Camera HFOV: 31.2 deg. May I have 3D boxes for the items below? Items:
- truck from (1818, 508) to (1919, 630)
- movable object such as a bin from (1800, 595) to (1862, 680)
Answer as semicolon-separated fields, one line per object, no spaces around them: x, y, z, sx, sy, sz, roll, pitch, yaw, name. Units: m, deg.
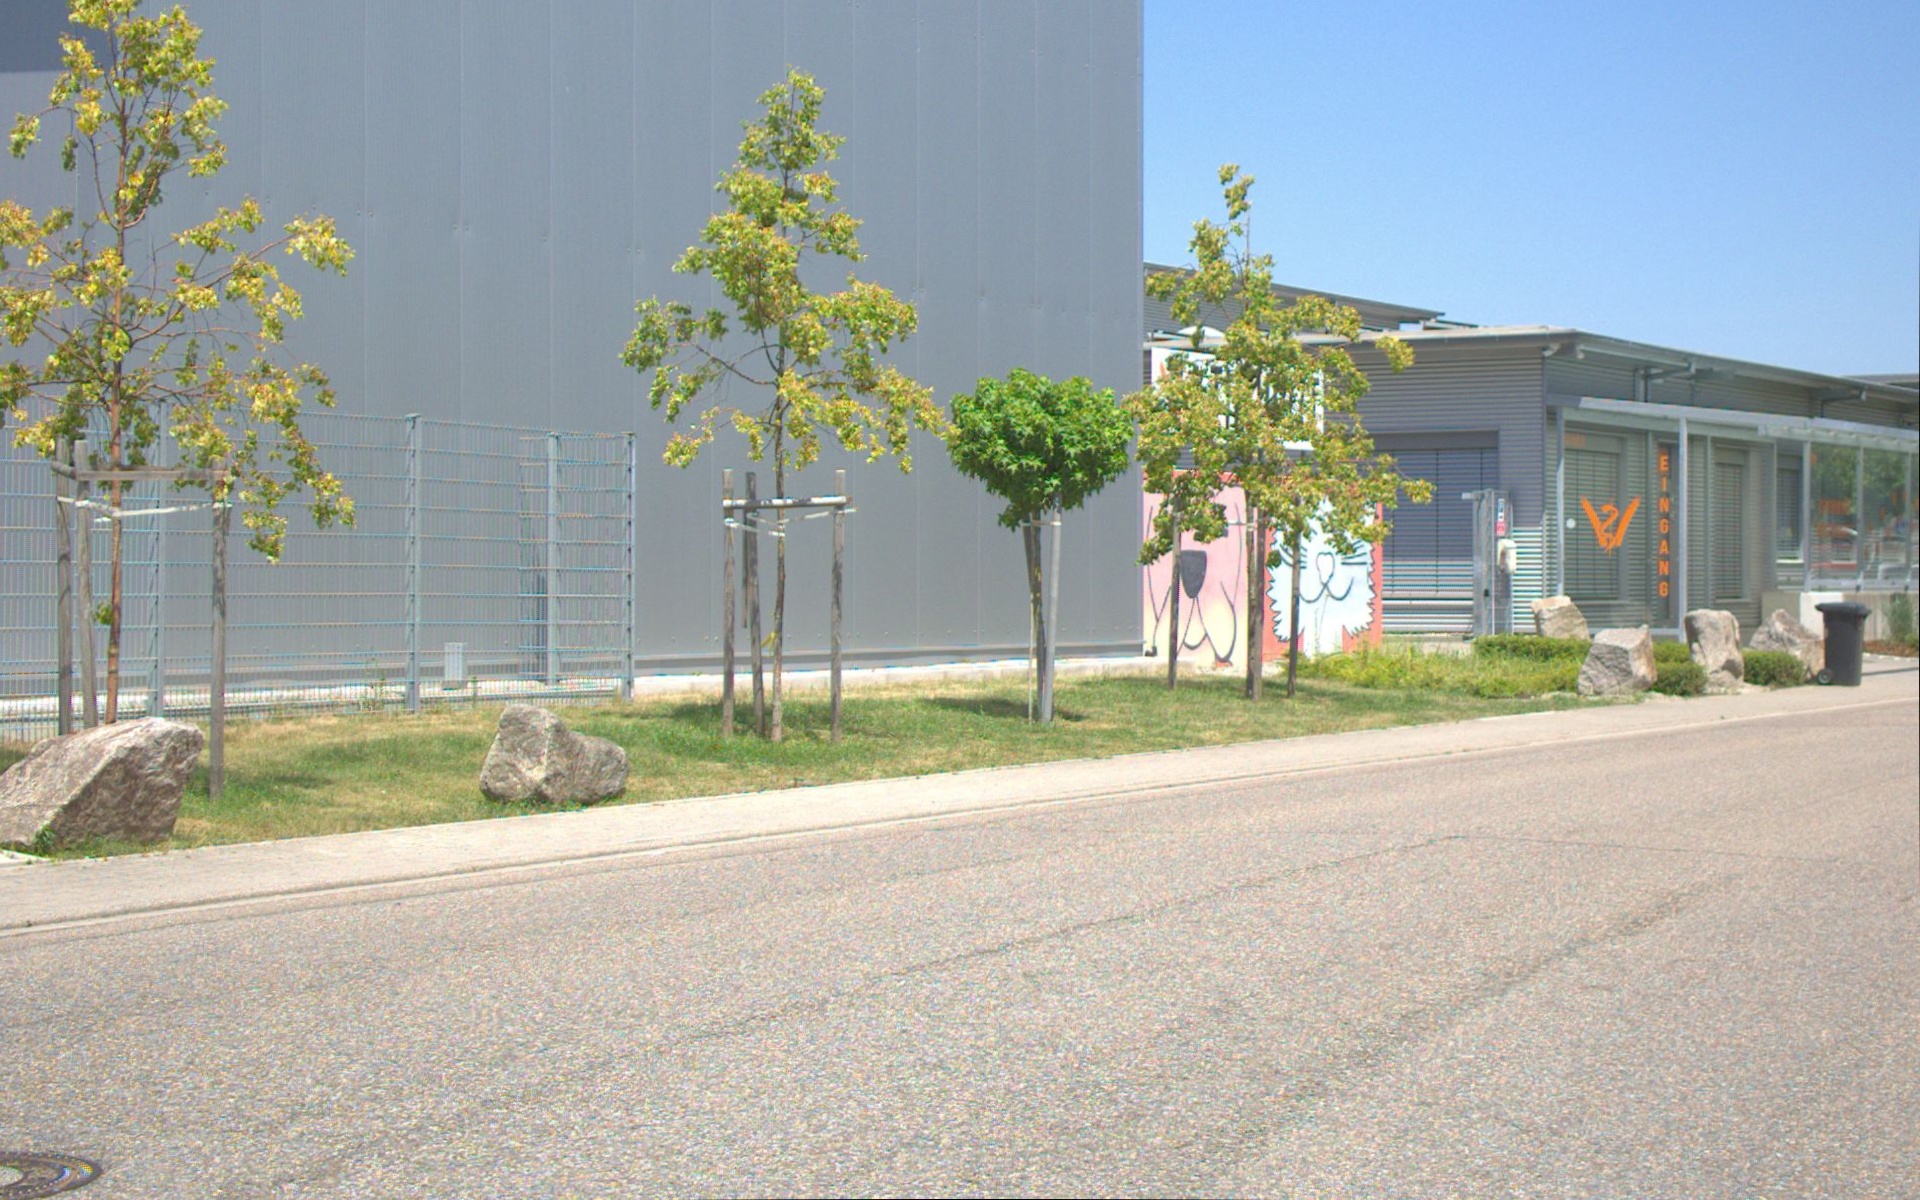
29.197;-0.891;101.409;2.578;3.544;8.065;1;1;-30;truck
9.834;0.419;38.820;0.571;0.946;0.511;1;1;26;movable object such as a bin
